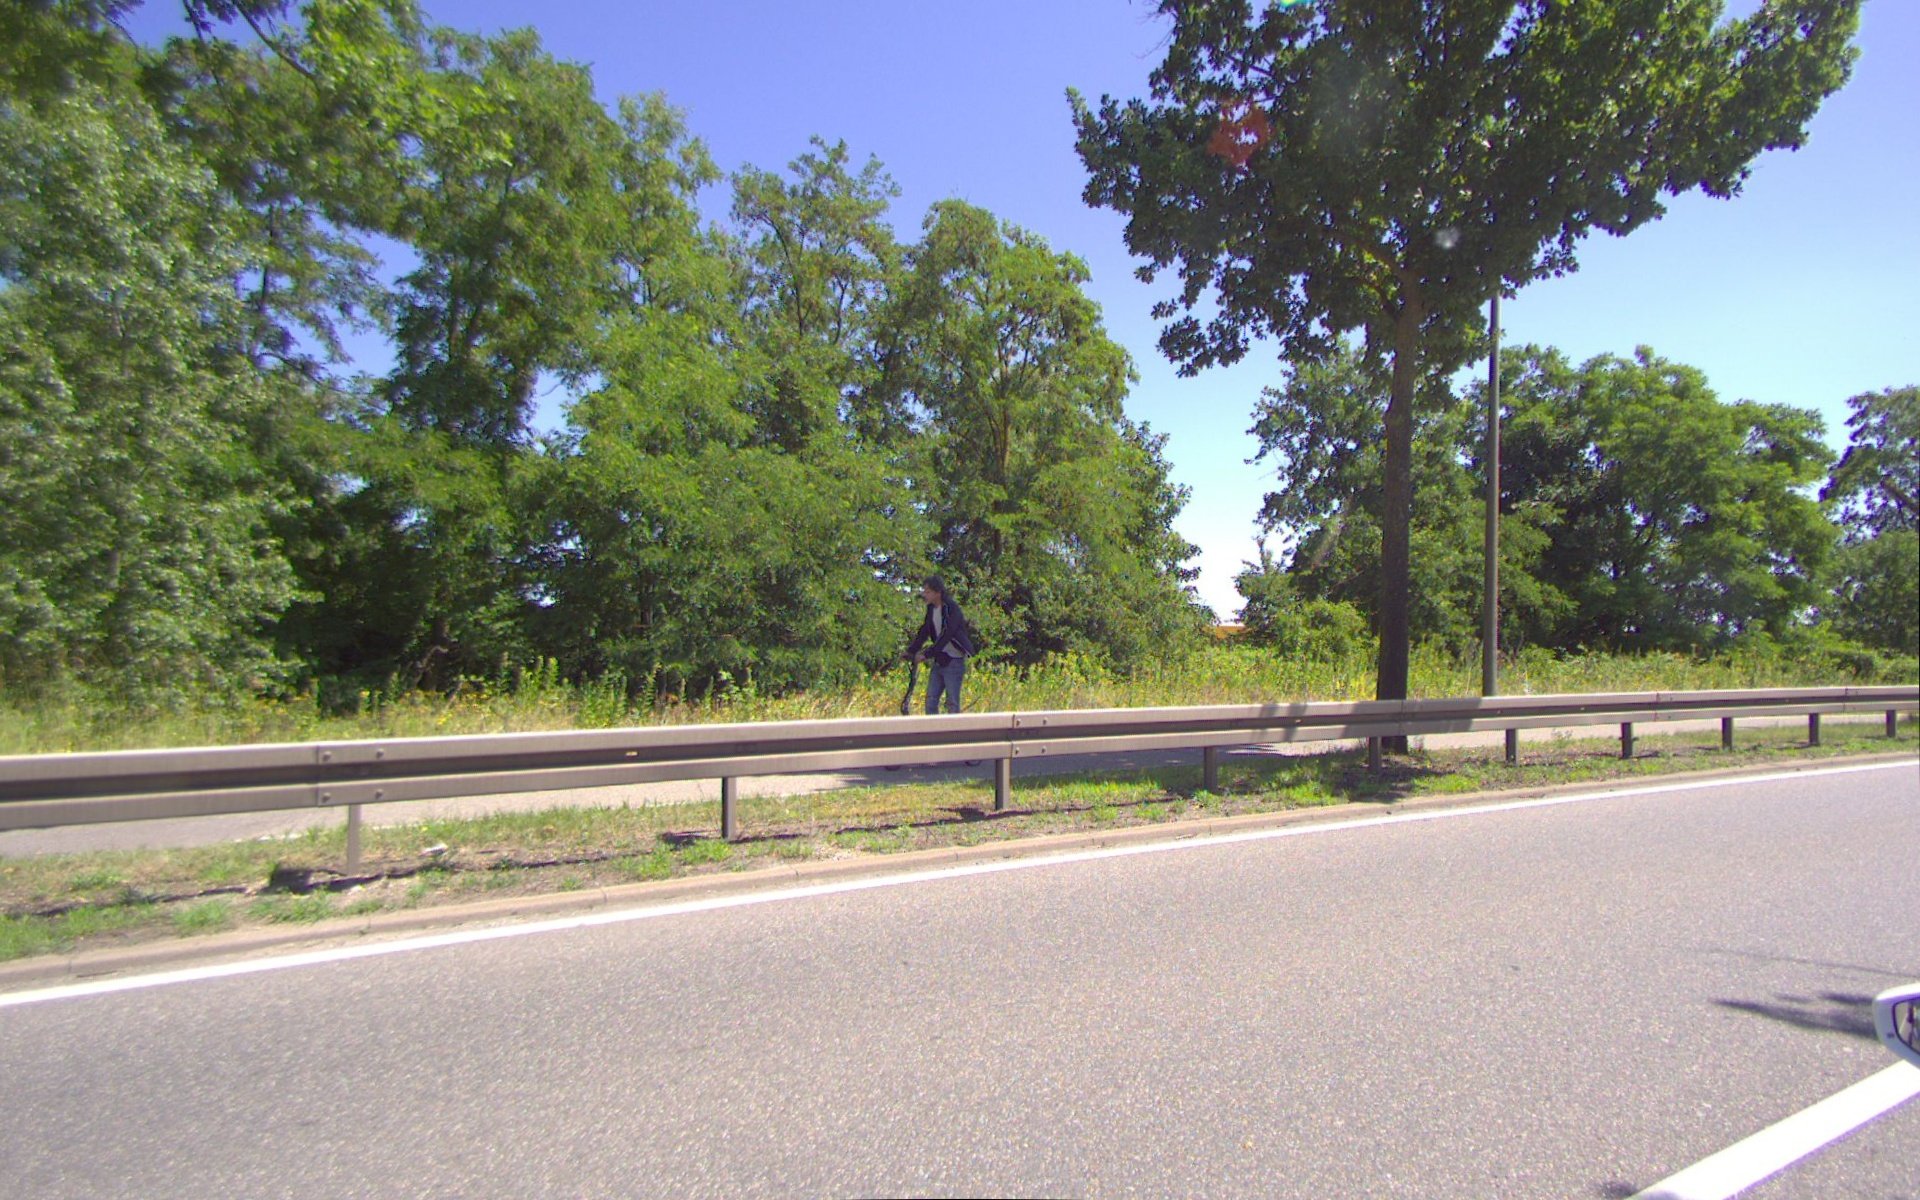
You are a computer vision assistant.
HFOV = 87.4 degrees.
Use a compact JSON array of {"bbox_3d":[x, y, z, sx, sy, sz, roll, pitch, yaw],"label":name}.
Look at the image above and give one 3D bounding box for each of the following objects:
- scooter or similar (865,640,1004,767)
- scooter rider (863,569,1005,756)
[{"bbox_3d":[-0.250,0.957,9.573,1.080,1.105,0.774,2,0,-26],"label":"scooter or similar"},{"bbox_3d":[-0.256,0.576,9.606,1.106,1.679,0.774,2,0,-26],"label":"scooter rider"}]
